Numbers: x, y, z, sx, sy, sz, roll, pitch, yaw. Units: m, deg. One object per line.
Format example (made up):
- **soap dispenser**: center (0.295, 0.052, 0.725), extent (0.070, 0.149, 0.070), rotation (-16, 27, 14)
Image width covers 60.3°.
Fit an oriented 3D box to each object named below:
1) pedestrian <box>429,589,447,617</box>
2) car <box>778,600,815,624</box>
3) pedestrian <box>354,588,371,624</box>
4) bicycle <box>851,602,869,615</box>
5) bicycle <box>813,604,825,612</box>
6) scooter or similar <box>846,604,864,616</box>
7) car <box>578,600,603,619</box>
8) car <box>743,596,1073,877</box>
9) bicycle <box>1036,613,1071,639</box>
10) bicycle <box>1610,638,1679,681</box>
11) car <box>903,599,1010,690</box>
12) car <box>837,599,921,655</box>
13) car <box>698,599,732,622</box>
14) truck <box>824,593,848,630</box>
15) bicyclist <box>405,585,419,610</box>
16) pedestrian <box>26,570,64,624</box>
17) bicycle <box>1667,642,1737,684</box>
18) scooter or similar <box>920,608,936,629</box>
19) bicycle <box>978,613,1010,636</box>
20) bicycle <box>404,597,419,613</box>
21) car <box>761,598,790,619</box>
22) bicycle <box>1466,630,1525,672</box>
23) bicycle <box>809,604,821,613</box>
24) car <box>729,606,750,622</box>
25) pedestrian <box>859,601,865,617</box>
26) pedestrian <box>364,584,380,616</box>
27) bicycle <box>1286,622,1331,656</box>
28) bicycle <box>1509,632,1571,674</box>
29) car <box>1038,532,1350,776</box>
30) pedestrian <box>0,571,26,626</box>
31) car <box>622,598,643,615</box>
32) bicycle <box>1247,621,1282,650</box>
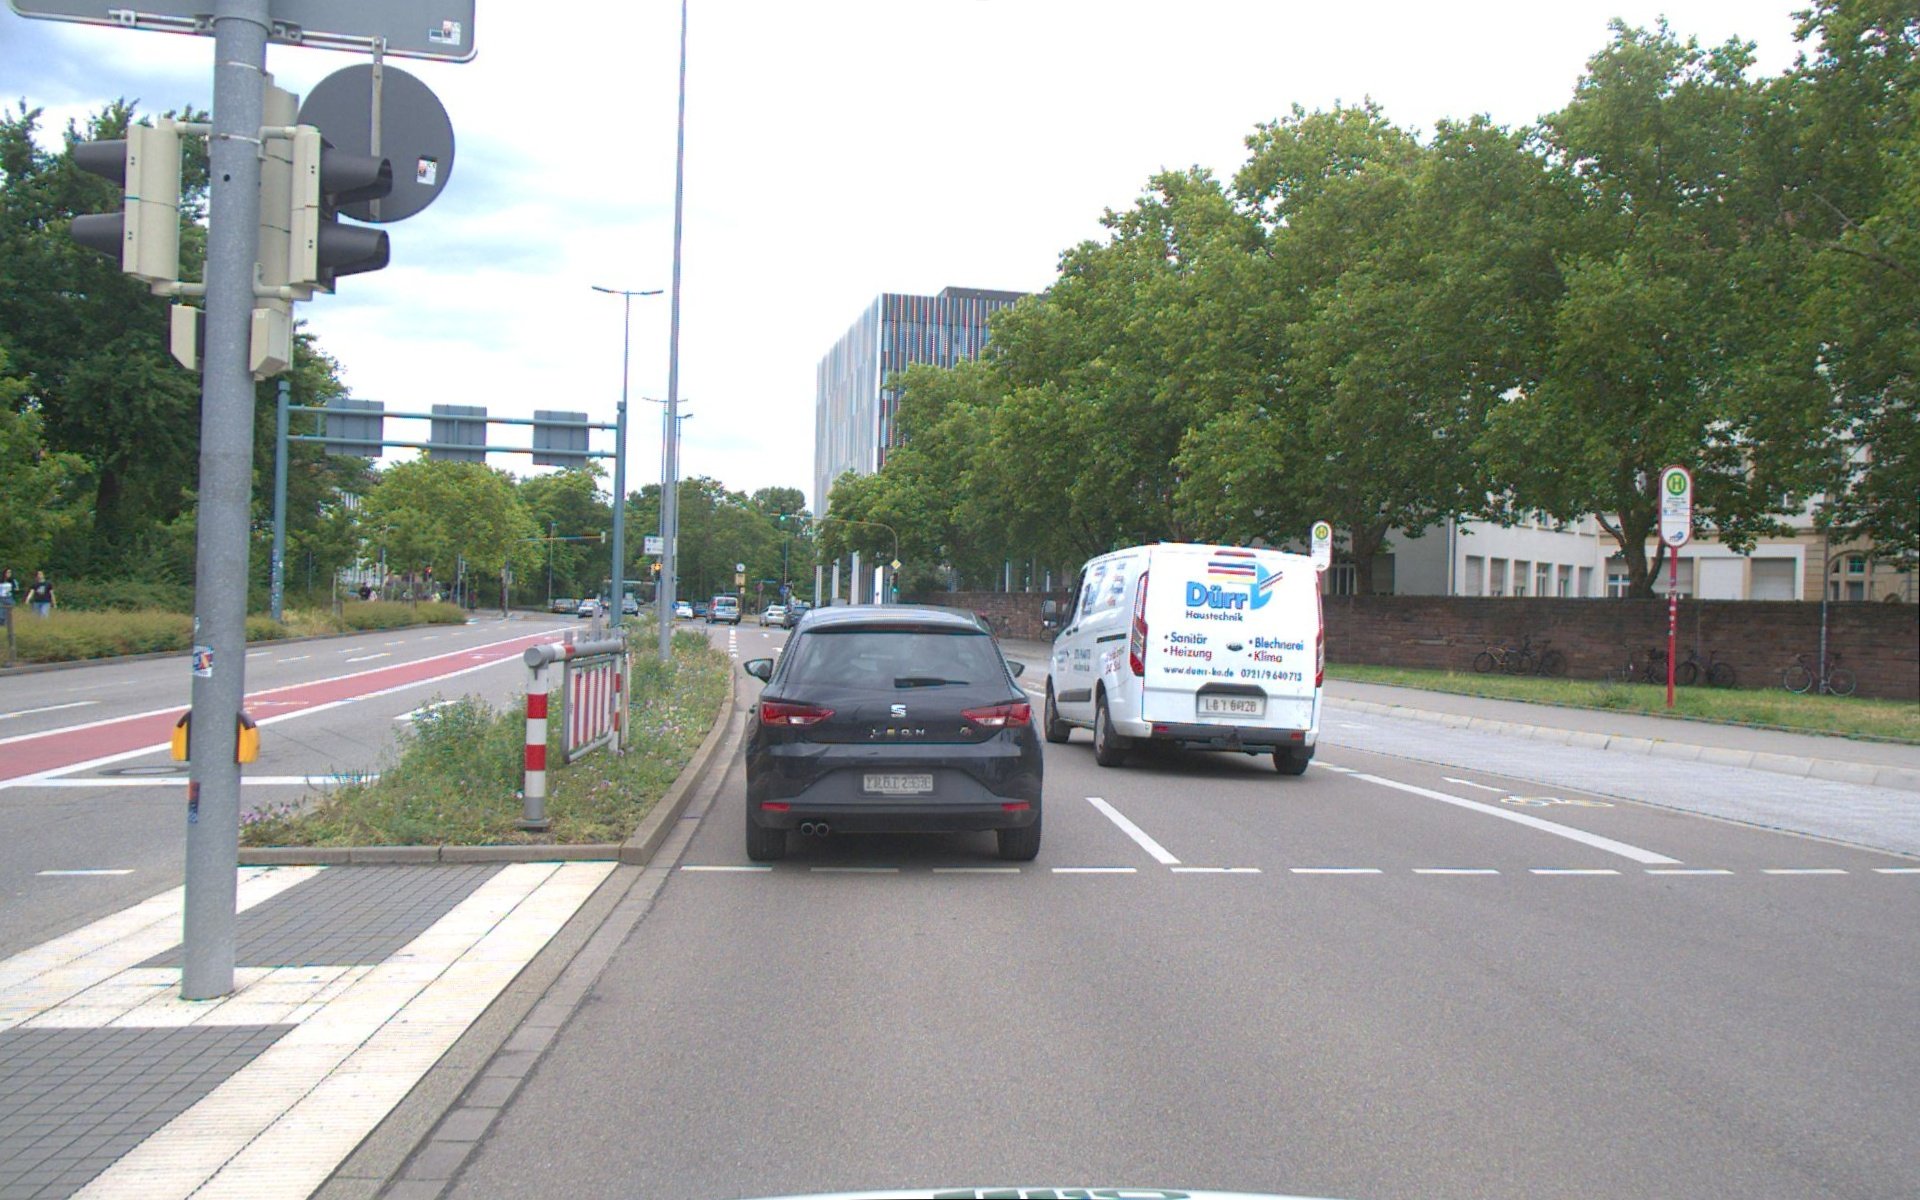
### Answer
- **pedestrian**: center (-34.620, 0.210, 109.592), extent (0.816, 1.770, 0.837), rotation (-4, -6, 43)
- **car**: center (-10.106, 0.735, 101.894), extent (1.865, 1.378, 3.871), rotation (0, 0, -12)
- **pedestrian**: center (-29.614, 0.276, 82.000), extent (0.608, 1.759, 0.816), rotation (0, 0, -9)
- **bicycle**: center (-9.438, 0.826, 155.715), extent (1.763, 1.232, 0.561), rotation (0, 0, -43)
- **bicycle**: center (-15.693, 0.908, 184.177), extent (1.222, 0.837, 0.477), rotation (5, -2, -31)
- **scooter or similar**: center (-9.921, 0.937, 156.225), extent (1.661, 1.126, 0.491), rotation (0, 0, -40)
- **car**: center (-28.668, 0.721, 128.530), extent (1.578, 1.405, 3.801), rotation (0, 0, -8)
- **car**: center (-0.410, 0.745, 10.609), extent (1.718, 1.457, 3.765), rotation (1, -1, -5)
- **bicycle**: center (4.241, 1.163, 75.391), extent (0.837, 1.147, 1.910), rotation (0, 0, -23)
- **bicycle**: center (18.646, 1.609, 45.091), extent (0.588, 1.077, 1.693), rotation (0, 0, -34)
- **car**: center (-0.128, 0.875, 34.276), extent (1.911, 1.652, 3.746), rotation (3, 0, -4)
- **car**: center (-2.668, 0.834, 53.673), extent (1.883, 1.693, 4.098), rotation (0, 0, -15)
- **car**: center (-17.142, 0.751, 115.715), extent (1.670, 1.530, 3.988), rotation (0, 0, -19)
- **truck**: center (-7.923, 0.723, 105.243), extent (1.293, 2.282, 3.395), rotation (0, 0, -8)
- **bicyclist**: center (-36.669, -0.159, 110.703), extent (0.658, 1.664, 0.953), rotation (3, -2, -26)
- **pedestrian**: center (-23.316, -0.080, 42.164), extent (0.633, 1.381, 0.709), rotation (0, 0, -10)
- **bicycle**: center (19.575, 1.657, 43.659), extent (0.545, 1.009, 1.616), rotation (0, 0, -37)
- **scooter or similar**: center (-1.822, 1.042, 94.915), extent (0.423, 1.199, 1.705), rotation (0, 0, 16)
- **bicycle**: center (1.687, 1.203, 82.390), extent (0.927, 1.092, 1.956), rotation (0, 0, -23)
- **bicycle**: center (-36.732, 0.339, 110.771), extent (0.658, 1.081, 1.606), rotation (3, -2, -26)
- **car**: center (-12.733, 0.578, 114.076), extent (1.587, 1.378, 3.989), rotation (0, 0, -12)
- **bicycle**: center (15.994, 1.515, 49.458), extent (0.588, 1.156, 1.693), rotation (0, 0, -34)
- **bicycle**: center (-16.287, 0.928, 185.890), extent (1.245, 0.863, 0.477), rotation (5, -2, -31)
- **car**: center (-18.001, 1.141, 134.854), extent (1.478, 1.214, 3.154), rotation (0, 0, -12)
- **pedestrian**: center (-8.712, 0.780, 146.727), extent (0.462, 1.385, 0.445), rotation (0, 0, 2)
- **pedestrian**: center (-30.899, -0.002, 86.954), extent (0.687, 1.664, 0.670), rotation (0, 0, -9)
- **bicycle**: center (11.871, 1.326, 56.406), extent (0.590, 1.124, 1.639), rotation (0, 0, -28)
- **bicycle**: center (16.808, 1.529, 47.936), extent (0.588, 1.149, 1.693), rotation (0, 0, -34)
- **car**: center (2.097, 0.498, 16.147), extent (1.929, 2.007, 4.337), rotation (2, -1, -7)
- **pedestrian**: center (-24.278, -0.044, 42.176), extent (0.634, 1.386, 0.678), rotation (0, 0, -16)
- **car**: center (-29.567, 0.570, 149.270), extent (1.733, 1.486, 4.775), rotation (0, -1, -13)
- **bicycle**: center (10.802, 1.259, 58.639), extent (0.410, 0.959, 1.513), rotation (0, 0, -26)
